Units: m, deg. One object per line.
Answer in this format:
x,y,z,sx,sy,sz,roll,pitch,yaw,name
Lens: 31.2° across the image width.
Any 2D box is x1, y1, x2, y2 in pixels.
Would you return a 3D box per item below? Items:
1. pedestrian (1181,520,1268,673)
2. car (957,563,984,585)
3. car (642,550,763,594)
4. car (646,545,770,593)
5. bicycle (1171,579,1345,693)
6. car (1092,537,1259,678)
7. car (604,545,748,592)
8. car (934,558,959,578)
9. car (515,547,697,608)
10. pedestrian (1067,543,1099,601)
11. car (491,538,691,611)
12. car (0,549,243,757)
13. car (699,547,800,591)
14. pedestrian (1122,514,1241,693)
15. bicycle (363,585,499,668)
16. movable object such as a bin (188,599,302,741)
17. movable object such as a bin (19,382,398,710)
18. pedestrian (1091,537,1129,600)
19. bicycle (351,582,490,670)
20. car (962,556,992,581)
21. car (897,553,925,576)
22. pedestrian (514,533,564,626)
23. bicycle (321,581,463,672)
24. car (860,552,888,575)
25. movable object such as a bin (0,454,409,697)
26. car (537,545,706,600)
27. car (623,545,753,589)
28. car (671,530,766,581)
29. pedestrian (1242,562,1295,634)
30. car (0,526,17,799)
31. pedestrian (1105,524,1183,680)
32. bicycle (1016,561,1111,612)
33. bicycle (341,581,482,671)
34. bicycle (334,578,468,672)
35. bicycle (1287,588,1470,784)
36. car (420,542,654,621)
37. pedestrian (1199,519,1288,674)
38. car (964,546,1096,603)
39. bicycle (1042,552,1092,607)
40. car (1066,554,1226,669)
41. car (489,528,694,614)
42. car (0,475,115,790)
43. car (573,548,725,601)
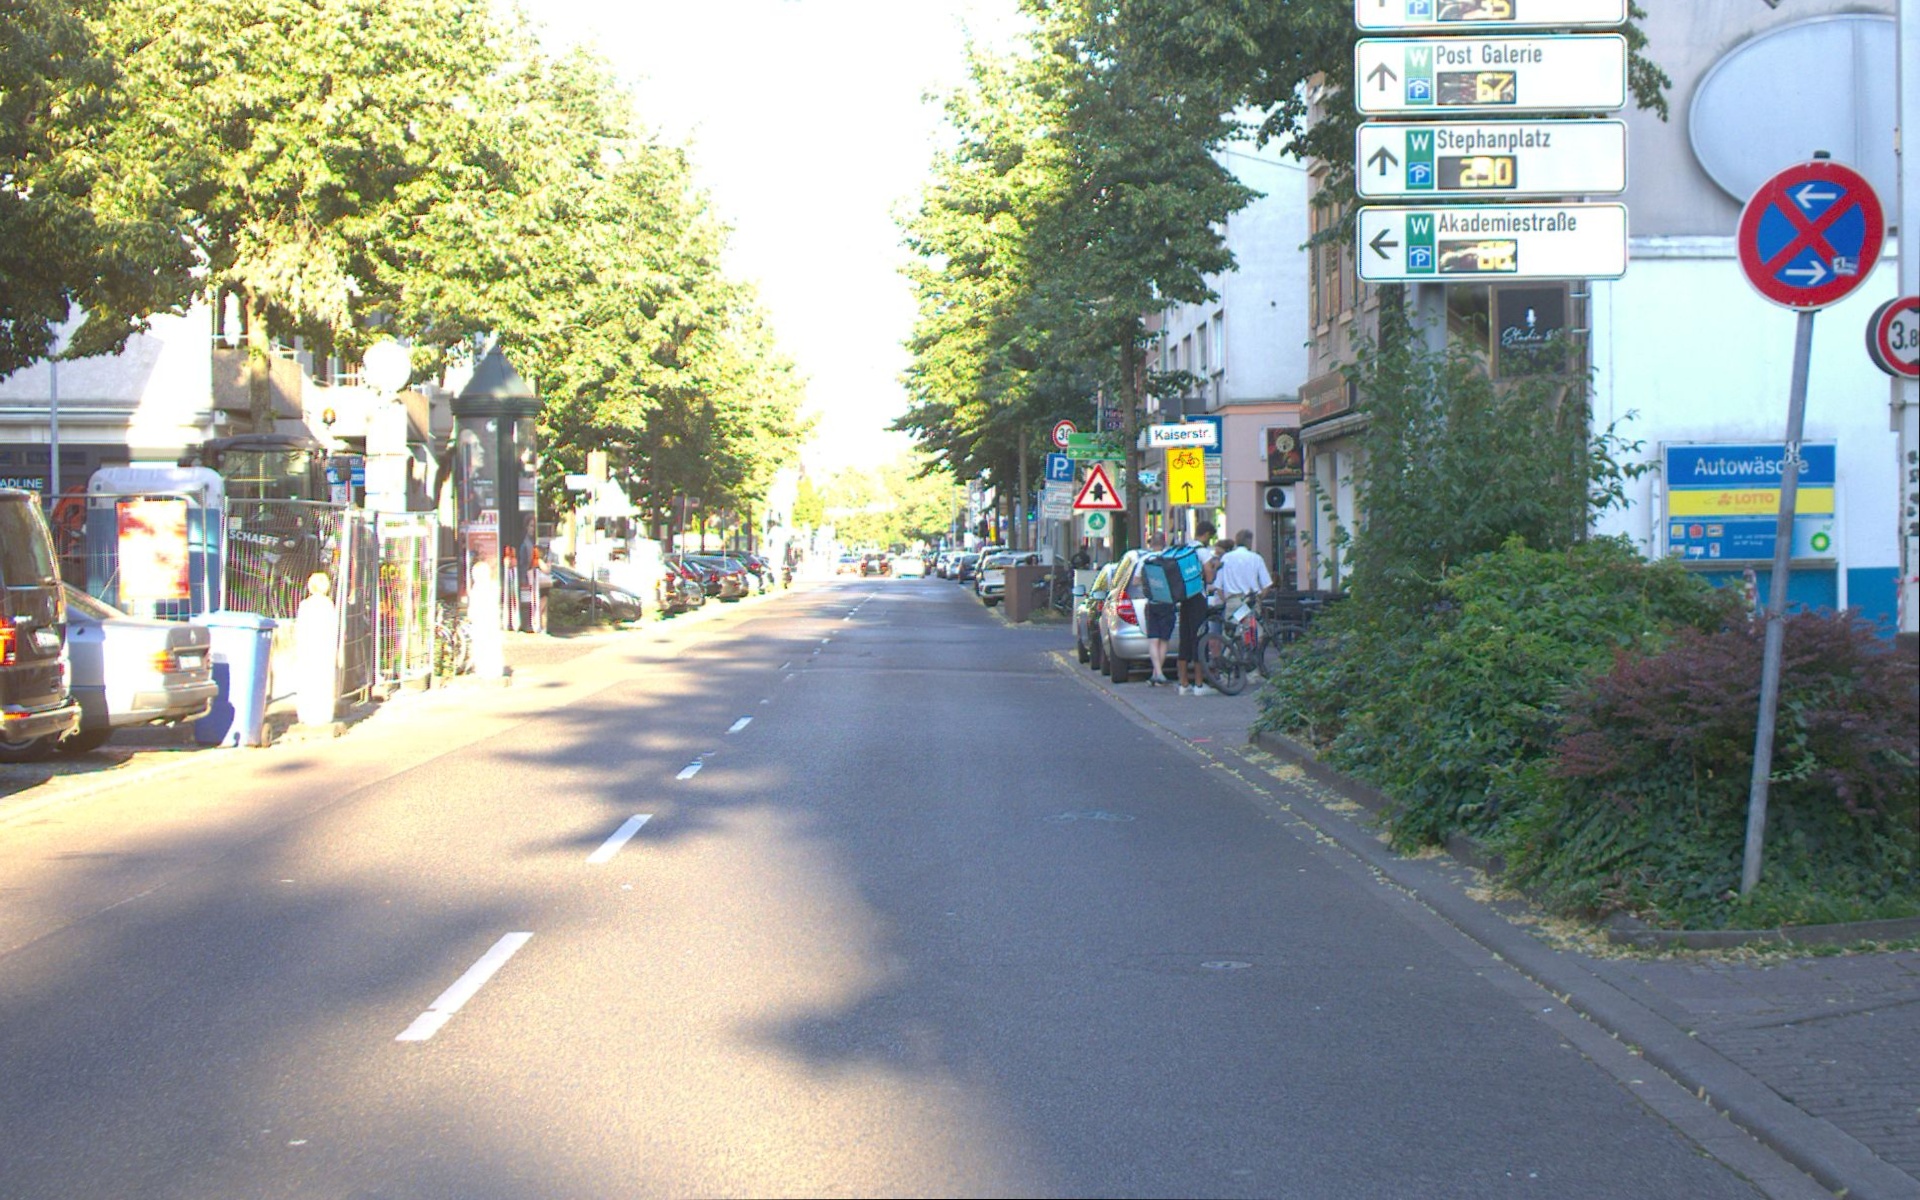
3.021,-0.043,39.331,0.677,1.700,0.825,-3,1,-15,pedestrian
0.625,-1.497,196.299,1.513,1.259,3.304,0,0,0,car
-9.434,-1.035,126.151,4.304,1.592,1.919,0,1,0,car
-9.382,-1.165,128.252,4.442,1.753,1.919,0,1,0,car
3.147,0.372,36.178,0.866,1.095,1.922,-1,2,38,bicycle
2.597,0.053,42.211,1.687,1.569,4.013,-3,1,0,car
-9.140,-1.022,110.878,4.442,1.444,1.919,0,1,0,car
-0.847,-2.044,219.093,1.513,1.294,3.304,0,0,0,car
-9.019,-0.575,87.781,4.442,1.501,1.845,0,0,0,car
2.939,-0.664,81.903,0.726,1.374,0.781,0,1,-1,pedestrian
-8.853,-0.609,82.784,4.571,1.692,2.060,0,1,0,car
-7.854,0.352,25.624,4.594,1.465,1.892,1,1,2,car
-9.517,-1.397,155.646,4.442,1.953,1.919,0,1,0,car
2.331,0.035,36.254,1.013,1.819,0.780,-3,1,-10,pedestrian
-6.998,0.350,45.478,1.683,1.018,0.444,2,0,7,bicycle
-5.745,0.553,27.659,0.690,1.101,0.883,-1,1,1,movable object such as a bin
-7.246,-0.531,33.808,2.624,2.959,5.304,0,1,-1,movable object such as a bin
4.605,-0.983,105.709,0.916,1.919,1.018,1,1,-10,pedestrian
-7.023,0.337,44.754,1.683,1.075,0.444,2,0,7,bicycle
0.886,-1.633,178.133,1.513,1.271,3.304,0,0,0,car
-3.122,-2.282,221.685,1.721,1.470,3.304,-1,0,0,car
-7.647,-0.375,62.456,0.710,1.680,0.833,0,1,8,pedestrian
-7.194,0.332,43.575,1.682,1.075,0.444,2,0,-1,bicycle
-5.827,-2.509,233.909,1.752,1.535,3.304,-1,0,0,car
-9.064,-0.296,37.787,2.312,2.486,5.740,1,1,43,movable object such as a bin
-9.297,-0.758,94.655,4.442,1.453,1.859,0,1,0,car
-9.623,-1.181,121.749,4.442,1.518,1.919,0,1,0,car
-11.623,-2.142,165.687,4.442,2.426,1.919,0,0,0,car
4.984,-0.028,55.606,0.682,1.137,1.361,-2,-1,-1,pedestrian
-7.774,0.359,19.856,4.129,1.631,1.860,1,1,0,car
2.091,0.021,39.121,0.677,1.748,0.825,-1,1,-11,pedestrian
2.226,-0.295,73.878,1.957,1.070,0.704,0,1,31,bicycle
-7.044,0.334,44.167,1.683,1.075,0.444,2,0,7,bicycle
-6.935,0.314,42.685,1.544,1.113,0.444,3,0,-33,bicycle
2.678,0.530,21.871,0.483,1.139,1.678,-3,1,30,bicycle
-8.532,-0.377,69.607,4.546,1.536,1.811,0,1,-2,car
3.192,-0.039,38.723,0.651,1.694,0.667,-4,1,-45,pedestrian
2.031,-0.744,98.691,1.674,1.583,3.814,1,1,42,car
2.353,-0.453,75.337,0.598,1.174,1.844,0,1,19,bicycle
2.464,0.119,46.567,1.785,1.371,4.524,-3,1,-1,car
-8.543,-0.679,79.979,4.571,1.955,1.991,0,1,-1,car
-7.975,0.162,22.406,4.483,1.969,1.966,1,1,-2,car
-9.420,-0.785,104.304,4.442,1.562,1.919,0,1,0,car
